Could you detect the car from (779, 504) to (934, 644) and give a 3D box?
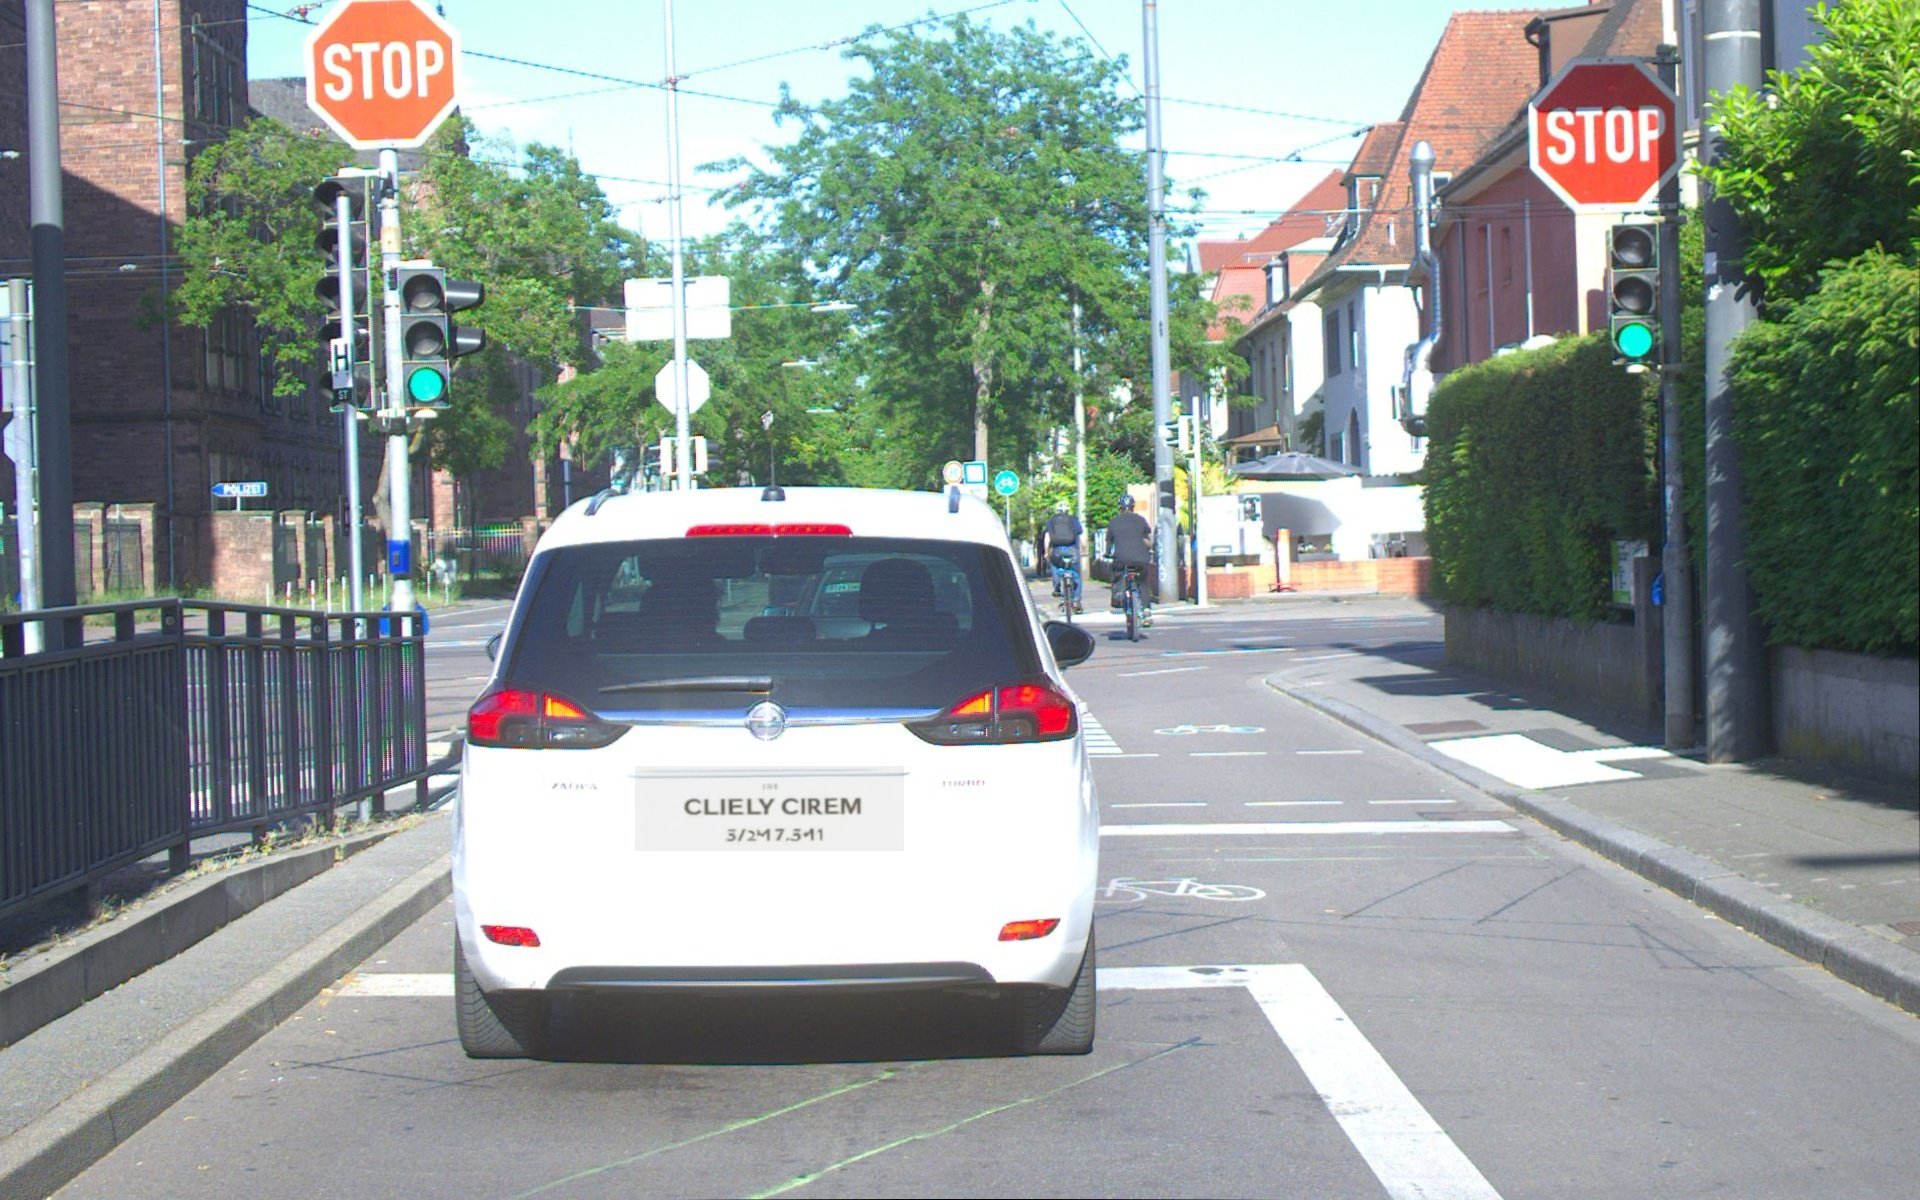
[{"bbox_3d":[-1.243,-0.337,42.685,1.776,1.626,3.881,-1,1,0],"label":"car"}]

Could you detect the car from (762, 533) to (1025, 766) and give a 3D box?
[{"bbox_3d":[-0.387,0.278,23.837,1.586,1.415,3.900,-2,1,2],"label":"car"}]

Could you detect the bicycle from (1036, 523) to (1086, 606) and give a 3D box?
[{"bbox_3d":[1.443,-0.504,48.951,0.685,1.153,1.619,-1,1,2],"label":"bicycle"}]

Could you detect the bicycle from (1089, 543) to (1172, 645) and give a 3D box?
[{"bbox_3d":[1.986,-0.085,40.339,0.829,1.150,2.095,-1,1,-1],"label":"bicycle"}]

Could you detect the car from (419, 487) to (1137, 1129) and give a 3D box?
[{"bbox_3d":[-0.454,0.513,10.873,1.835,1.636,3.919,-1,1,1],"label":"car"}]

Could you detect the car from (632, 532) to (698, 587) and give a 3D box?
[{"bbox_3d":[-9.749,-1.350,113.937,1.892,1.777,3.881,-1,1,-1],"label":"car"}]

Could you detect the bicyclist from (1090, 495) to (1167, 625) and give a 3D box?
[{"bbox_3d":[1.972,-0.474,40.419,0.821,1.496,0.934,-1,1,-1],"label":"bicyclist"}]

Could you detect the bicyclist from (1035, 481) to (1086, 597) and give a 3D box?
[{"bbox_3d":[1.436,-0.867,48.881,0.685,1.629,1.015,-1,1,2],"label":"bicyclist"}]

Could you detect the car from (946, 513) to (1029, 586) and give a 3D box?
[{"bbox_3d":[0.656,-1.173,80.328,1.776,1.626,3.880,-1,1,3],"label":"car"}]

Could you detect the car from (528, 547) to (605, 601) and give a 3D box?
[{"bbox_3d":[-10.871,-0.744,95.120,1.581,1.436,3.584,-1,1,2],"label":"car"}]
